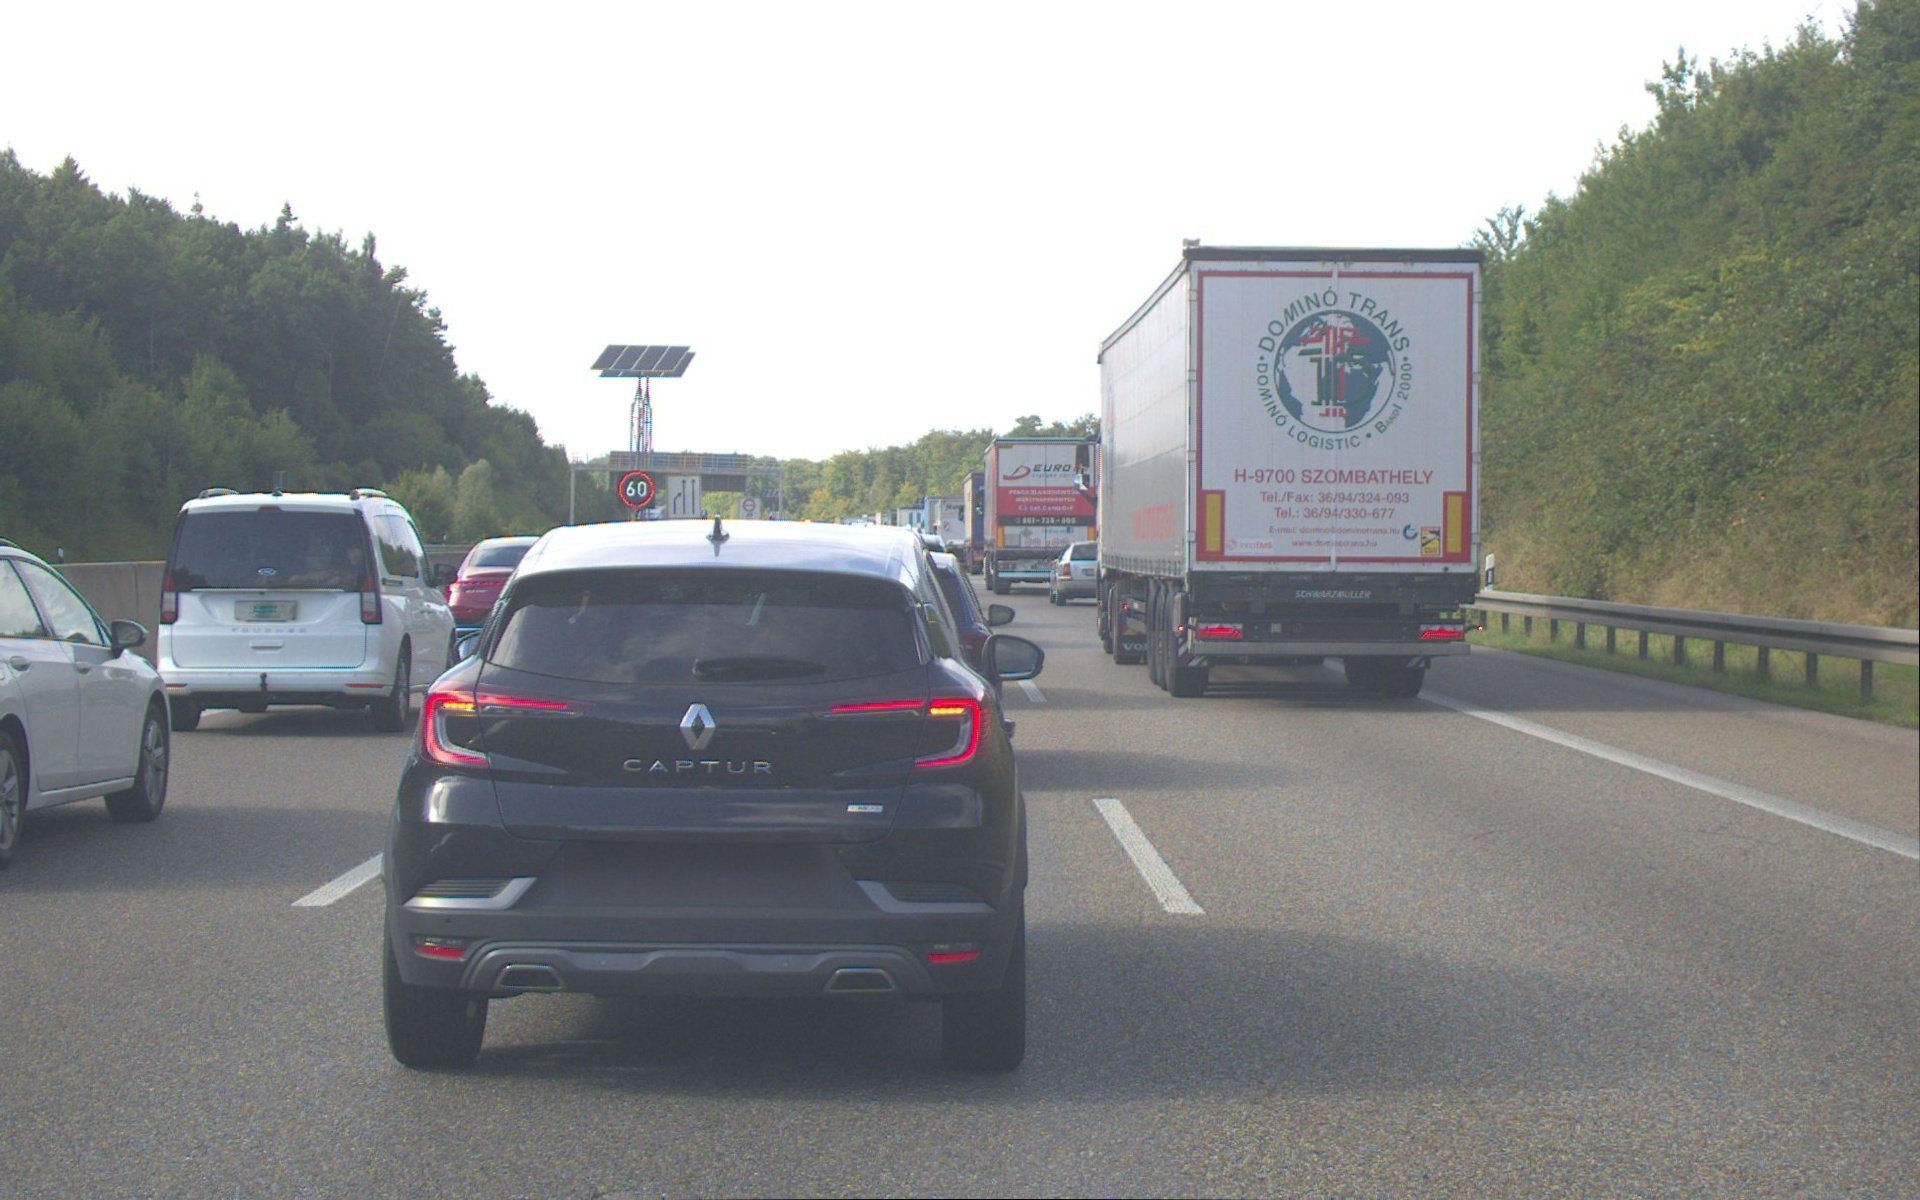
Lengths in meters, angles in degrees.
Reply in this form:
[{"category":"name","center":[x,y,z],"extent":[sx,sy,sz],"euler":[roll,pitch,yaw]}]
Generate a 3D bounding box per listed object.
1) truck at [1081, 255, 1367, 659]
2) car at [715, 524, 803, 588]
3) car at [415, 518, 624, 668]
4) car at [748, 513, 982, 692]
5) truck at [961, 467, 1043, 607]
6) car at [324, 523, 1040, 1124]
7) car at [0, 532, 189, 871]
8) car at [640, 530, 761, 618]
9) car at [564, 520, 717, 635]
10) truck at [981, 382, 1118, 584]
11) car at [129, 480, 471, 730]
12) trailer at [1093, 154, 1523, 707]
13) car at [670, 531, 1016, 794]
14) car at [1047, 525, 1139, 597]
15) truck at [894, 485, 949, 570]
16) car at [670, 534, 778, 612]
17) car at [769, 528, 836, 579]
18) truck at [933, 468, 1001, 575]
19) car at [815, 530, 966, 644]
[{"category":"truck","center":[3.151,-1.713,42.688],"extent":[2.997,4.651,5.940],"euler":[0,1,-1]},{"category":"car","center":[-5.163,-1.159,88.695],"extent":[1.993,1.607,4.000],"euler":[1,1,0]},{"category":"car","center":[-5.054,-0.099,39.896],"extent":[1.855,1.635,3.925],"euler":[1,1,1]},{"category":"car","center":[-0.807,-0.004,31.452],"extent":[1.993,1.509,4.000],"euler":[1,1,0]},{"category":"truck","center":[1.697,-2.561,142.014],"extent":[3.166,5.486,12.737],"euler":[1,1,1]},{"category":"car","center":[-0.679,0.544,10.905],"extent":[1.805,1.547,4.000],"euler":[0,1,2]},{"category":"car","center":[-5.011,0.416,16.038],"extent":[1.804,1.456,4.308],"euler":[0,1,1]},{"category":"car","center":[-4.960,-0.506,66.192],"extent":[1.993,1.607,4.000],"euler":[1,1,0]},{"category":"car","center":[-4.970,-0.366,53.989],"extent":[1.993,1.716,4.000],"euler":[1,1,0]},{"category":"truck","center":[2.300,-2.999,92.480],"extent":[3.365,5.027,12.737],"euler":[1,1,1]},{"category":"car","center":[-5.087,0.011,27.092],"extent":[1.911,1.783,4.418],"euler":[1,1,-1]},{"category":"trailer","center":[3.196,-1.571,35.712],"extent":[3.002,4.645,13.291],"euler":[1,1,0]},{"category":"car","center":[-0.675,0.340,22.019],"extent":[1.993,1.509,4.000],"euler":[1,1,0]},{"category":"car","center":[2.938,-0.871,76.691],"extent":[1.804,1.527,3.926],"euler":[1,1,-1]},{"category":"truck","center":[-2.358,-4.527,216.748],"extent":[3.166,5.142,12.737],"euler":[1,1,1]},{"category":"car","center":[-5.030,-0.594,73.727],"extent":[1.993,1.607,4.000],"euler":[1,1,0]},{"category":"car","center":[-5.156,-1.541,112.716],"extent":[1.993,1.607,4.000],"euler":[1,1,0]},{"category":"truck","center":[0.454,-4.103,183.028],"extent":[3.167,5.486,12.737],"euler":[1,1,2]},{"category":"car","center":[-0.928,-0.196,48.020],"extent":[1.993,1.509,4.000],"euler":[1,1,0]}]
